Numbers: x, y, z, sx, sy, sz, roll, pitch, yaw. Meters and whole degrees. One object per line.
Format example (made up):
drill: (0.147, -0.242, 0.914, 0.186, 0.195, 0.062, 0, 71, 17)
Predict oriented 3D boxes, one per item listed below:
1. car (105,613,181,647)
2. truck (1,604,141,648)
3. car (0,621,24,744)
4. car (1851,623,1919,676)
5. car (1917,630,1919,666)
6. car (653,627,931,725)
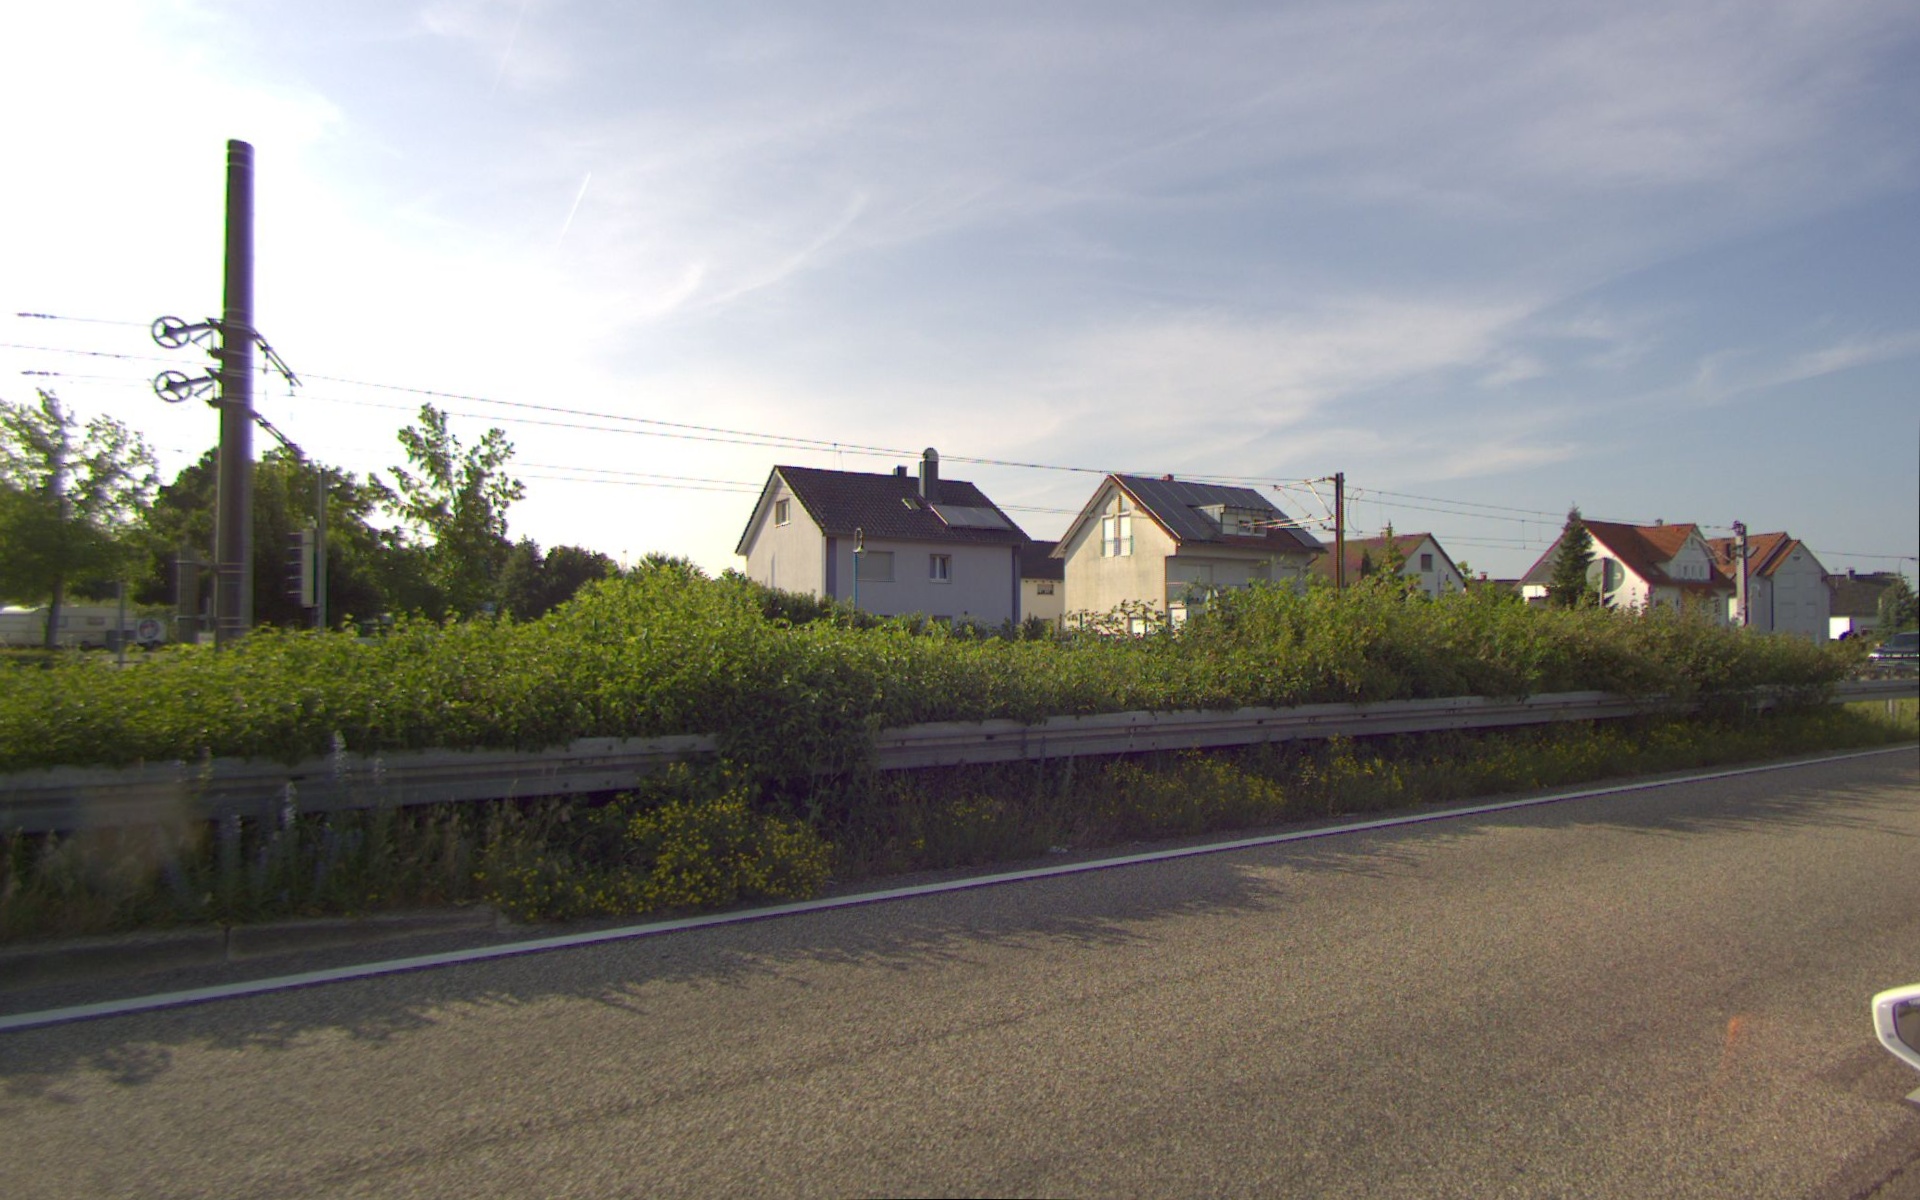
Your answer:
car: (-46.889, 1.700, 57.721, 1.537, 1.819, 3.116, 1, 0, 9)
truck: (-49.854, 1.405, 56.527, 1.959, 2.278, 5.990, 1, 0, 9)
car: (-13.144, 0.931, 10.738, 4.277, 1.450, 1.652, 1, -3, -31)
car: (31.225, 1.629, 32.970, 4.270, 1.655, 1.721, 1, -4, -31)
car: (45.999, 2.219, 46.217, 4.396, 1.633, 1.706, 1, 0, -31)
car: (-2.734, 1.210, 16.696, 4.277, 1.450, 1.652, 1, -3, -31)
